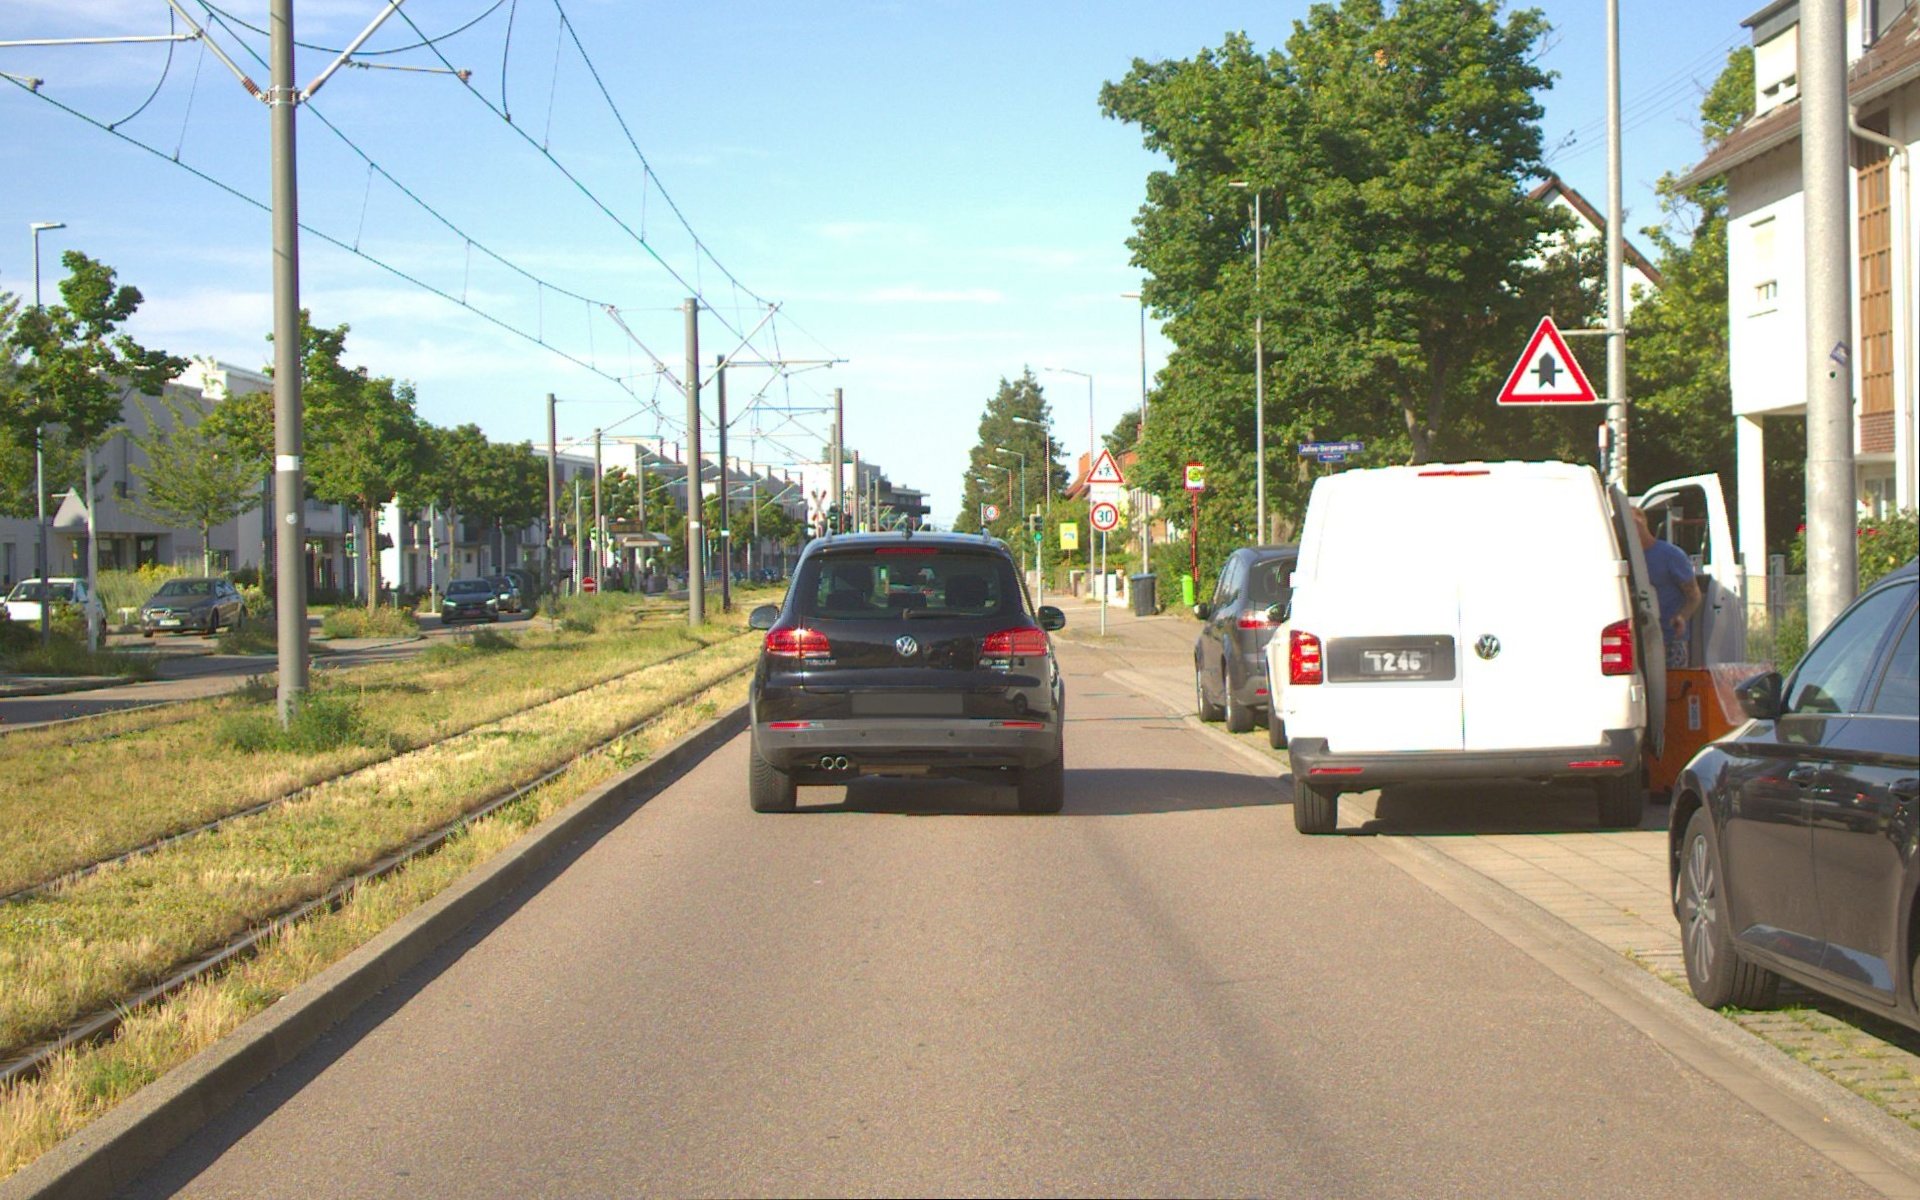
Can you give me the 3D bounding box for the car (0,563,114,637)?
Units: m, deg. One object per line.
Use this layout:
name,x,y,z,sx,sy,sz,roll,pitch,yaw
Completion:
car,-18.897,-0.010,71.878,1.544,1.486,3.775,1,0,-2

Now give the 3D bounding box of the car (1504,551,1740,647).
car,10.957,-0.008,57.070,3.595,1.525,1.647,-1,0,2

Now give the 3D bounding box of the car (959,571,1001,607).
car,0.932,-0.530,163.045,1.775,1.664,4.000,-1,0,-2

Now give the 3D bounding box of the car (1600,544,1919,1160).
car,3.166,0.573,9.538,1.748,1.489,5.155,-2,0,0

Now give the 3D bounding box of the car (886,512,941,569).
car,-2.107,-2.702,158.086,2.394,2.556,5.529,-1,0,0

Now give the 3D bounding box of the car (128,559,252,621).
car,-19.054,-0.250,85.241,1.811,1.456,4.317,1,0,4

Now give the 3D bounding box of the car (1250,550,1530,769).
car,3.144,0.403,25.838,1.656,1.487,4.159,-1,0,1

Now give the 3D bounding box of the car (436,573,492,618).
car,-16.296,-0.156,113.168,1.688,1.384,4.388,-2,0,-7

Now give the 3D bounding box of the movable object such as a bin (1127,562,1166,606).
movable object such as a bin,4.800,-0.421,88.562,0.976,1.107,1.170,-1,1,3

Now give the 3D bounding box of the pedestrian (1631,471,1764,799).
pedestrian,4.382,0.203,20.461,0.699,1.906,0.758,1,0,8

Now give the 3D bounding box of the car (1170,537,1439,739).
car,3.048,0.290,31.375,1.791,1.623,4.861,-3,1,-1

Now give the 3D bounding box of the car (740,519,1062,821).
car,-0.406,0.378,21.150,1.775,1.664,4.000,0,0,-2

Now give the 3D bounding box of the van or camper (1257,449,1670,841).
van or camper,2.880,0.192,19.969,2.028,1.950,5.293,-1,1,8
